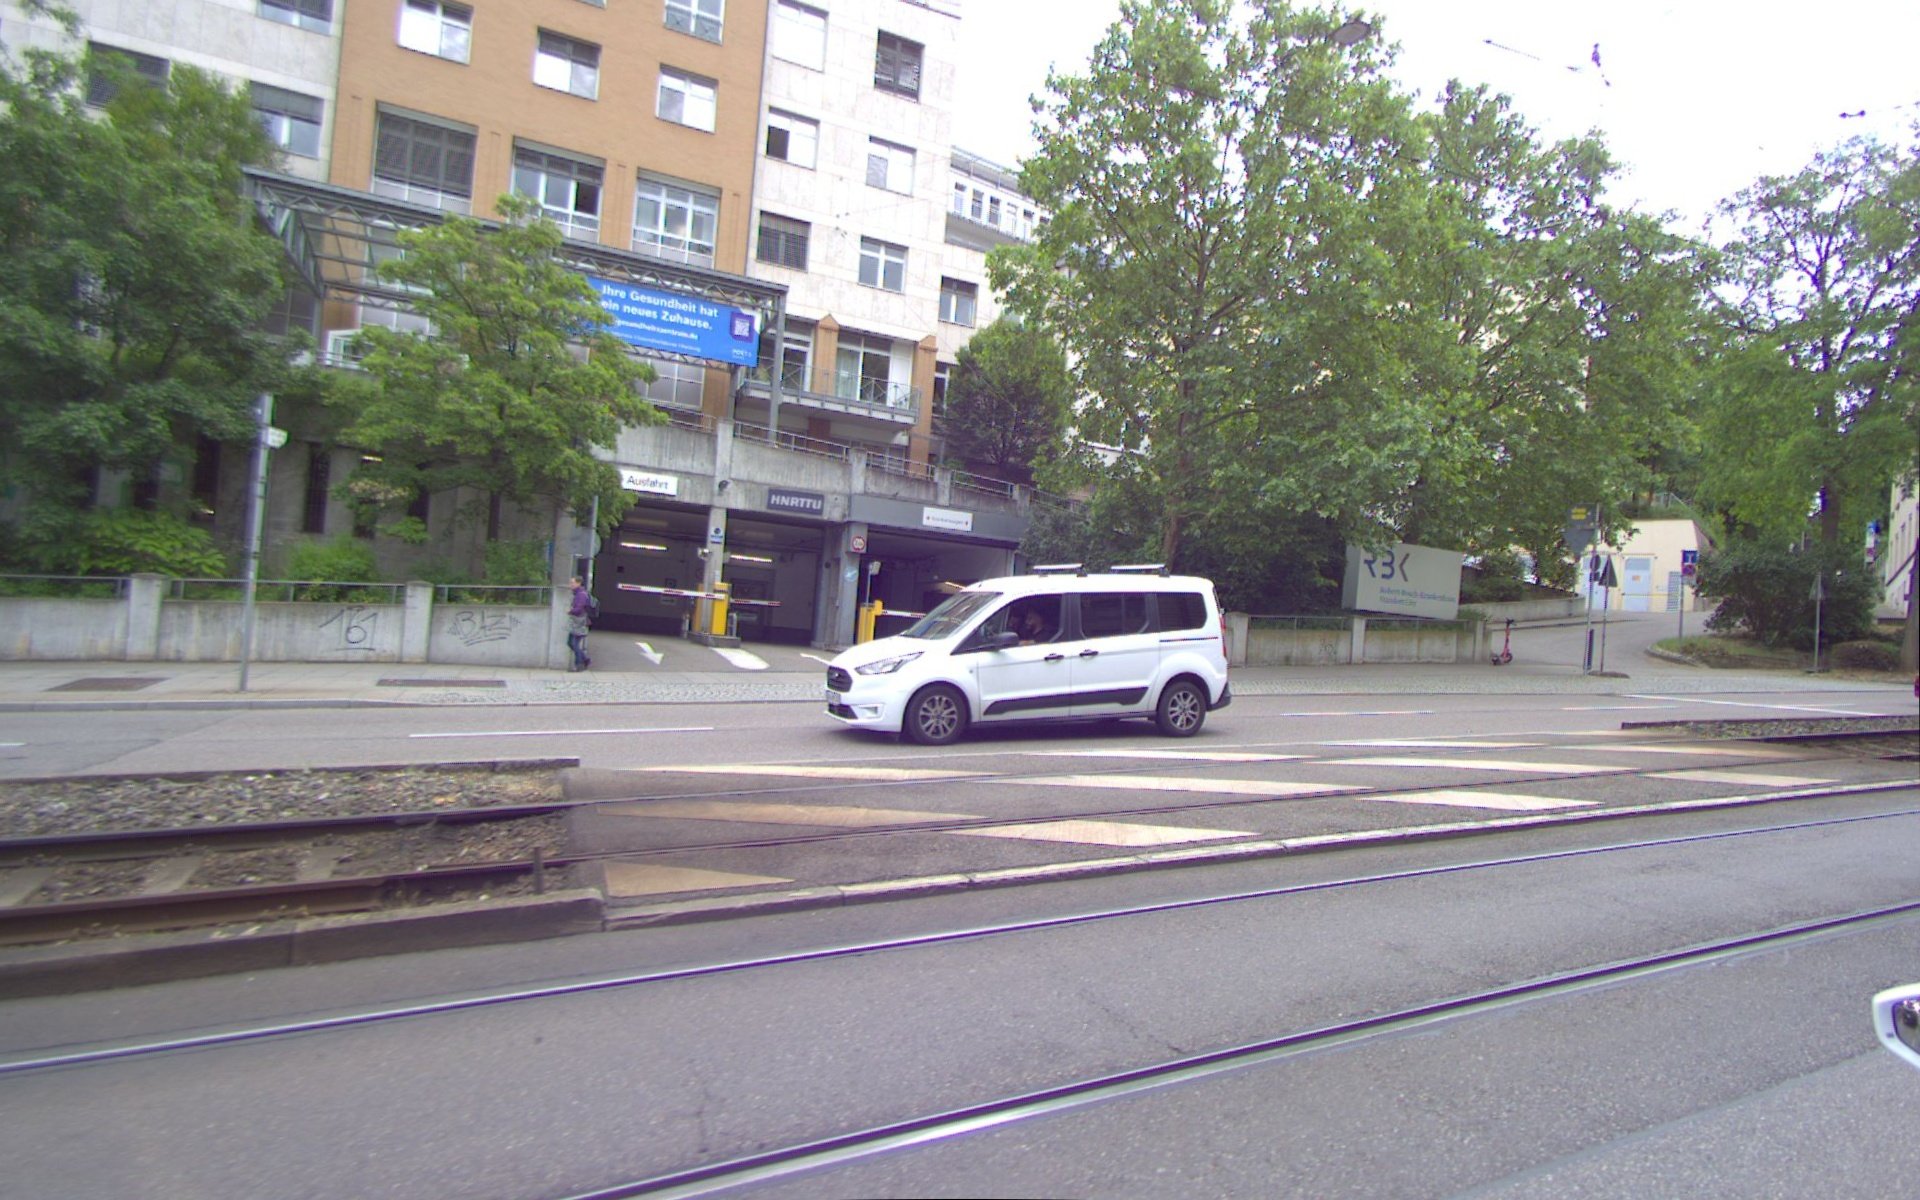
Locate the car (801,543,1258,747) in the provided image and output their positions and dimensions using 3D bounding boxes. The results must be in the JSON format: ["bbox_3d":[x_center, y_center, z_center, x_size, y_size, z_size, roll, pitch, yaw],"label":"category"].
[{"bbox_3d":[0.819,0.472,11.598,4.932,1.972,1.942,1,0,-24],"label":"car"}]

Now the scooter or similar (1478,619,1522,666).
[{"bbox_3d":[14.708,1.155,27.332,1.630,1.235,0.484,2,2,-43],"label":"scooter or similar"}]

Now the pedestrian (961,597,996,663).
[{"bbox_3d":[0.558,0.904,30.308,0.782,1.937,0.810,1,-1,-22],"label":"pedestrian"}]

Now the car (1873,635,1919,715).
[{"bbox_3d":[20.433,1.513,19.916,3.942,1.523,1.989,2,0,-23],"label":"car"}]

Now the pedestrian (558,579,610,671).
[{"bbox_3d":[-6.628,0.441,17.739,0.645,1.581,0.729,1,-1,-5],"label":"pedestrian"}]
